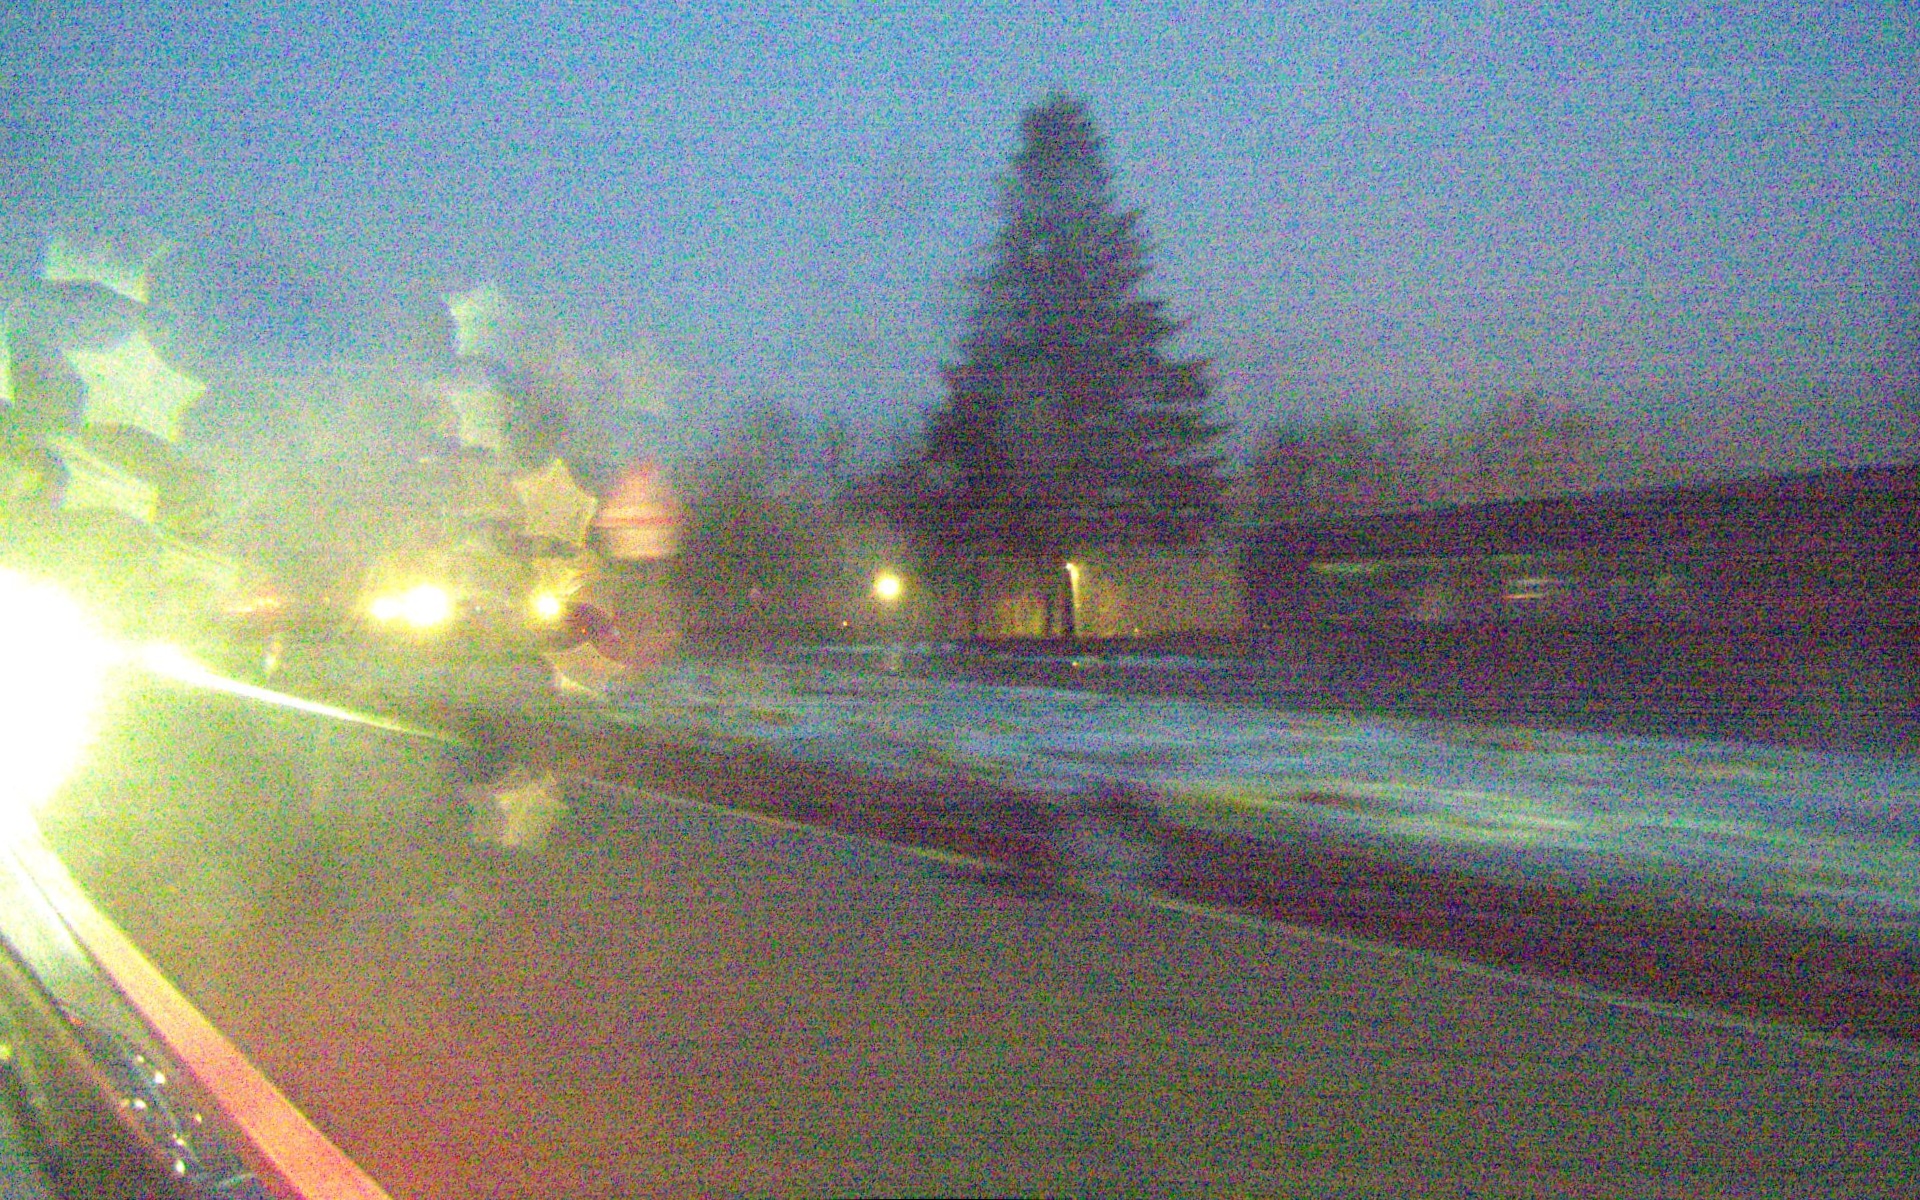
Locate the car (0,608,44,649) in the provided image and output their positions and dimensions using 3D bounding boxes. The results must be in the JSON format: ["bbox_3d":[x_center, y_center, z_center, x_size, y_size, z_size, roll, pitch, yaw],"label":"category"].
[{"bbox_3d":[-42.702,1.259,45.615,1.930,1.735,4.007,0,0,-40],"label":"car"}]

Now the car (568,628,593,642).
[{"bbox_3d":[-46.843,4.352,124.853,1.636,1.532,3.452,-2,1,-44],"label":"car"}]

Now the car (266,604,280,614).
[{"bbox_3d":[-111.214,1.486,163.833,1.711,1.554,4.012,-1,1,-31],"label":"car"}]
